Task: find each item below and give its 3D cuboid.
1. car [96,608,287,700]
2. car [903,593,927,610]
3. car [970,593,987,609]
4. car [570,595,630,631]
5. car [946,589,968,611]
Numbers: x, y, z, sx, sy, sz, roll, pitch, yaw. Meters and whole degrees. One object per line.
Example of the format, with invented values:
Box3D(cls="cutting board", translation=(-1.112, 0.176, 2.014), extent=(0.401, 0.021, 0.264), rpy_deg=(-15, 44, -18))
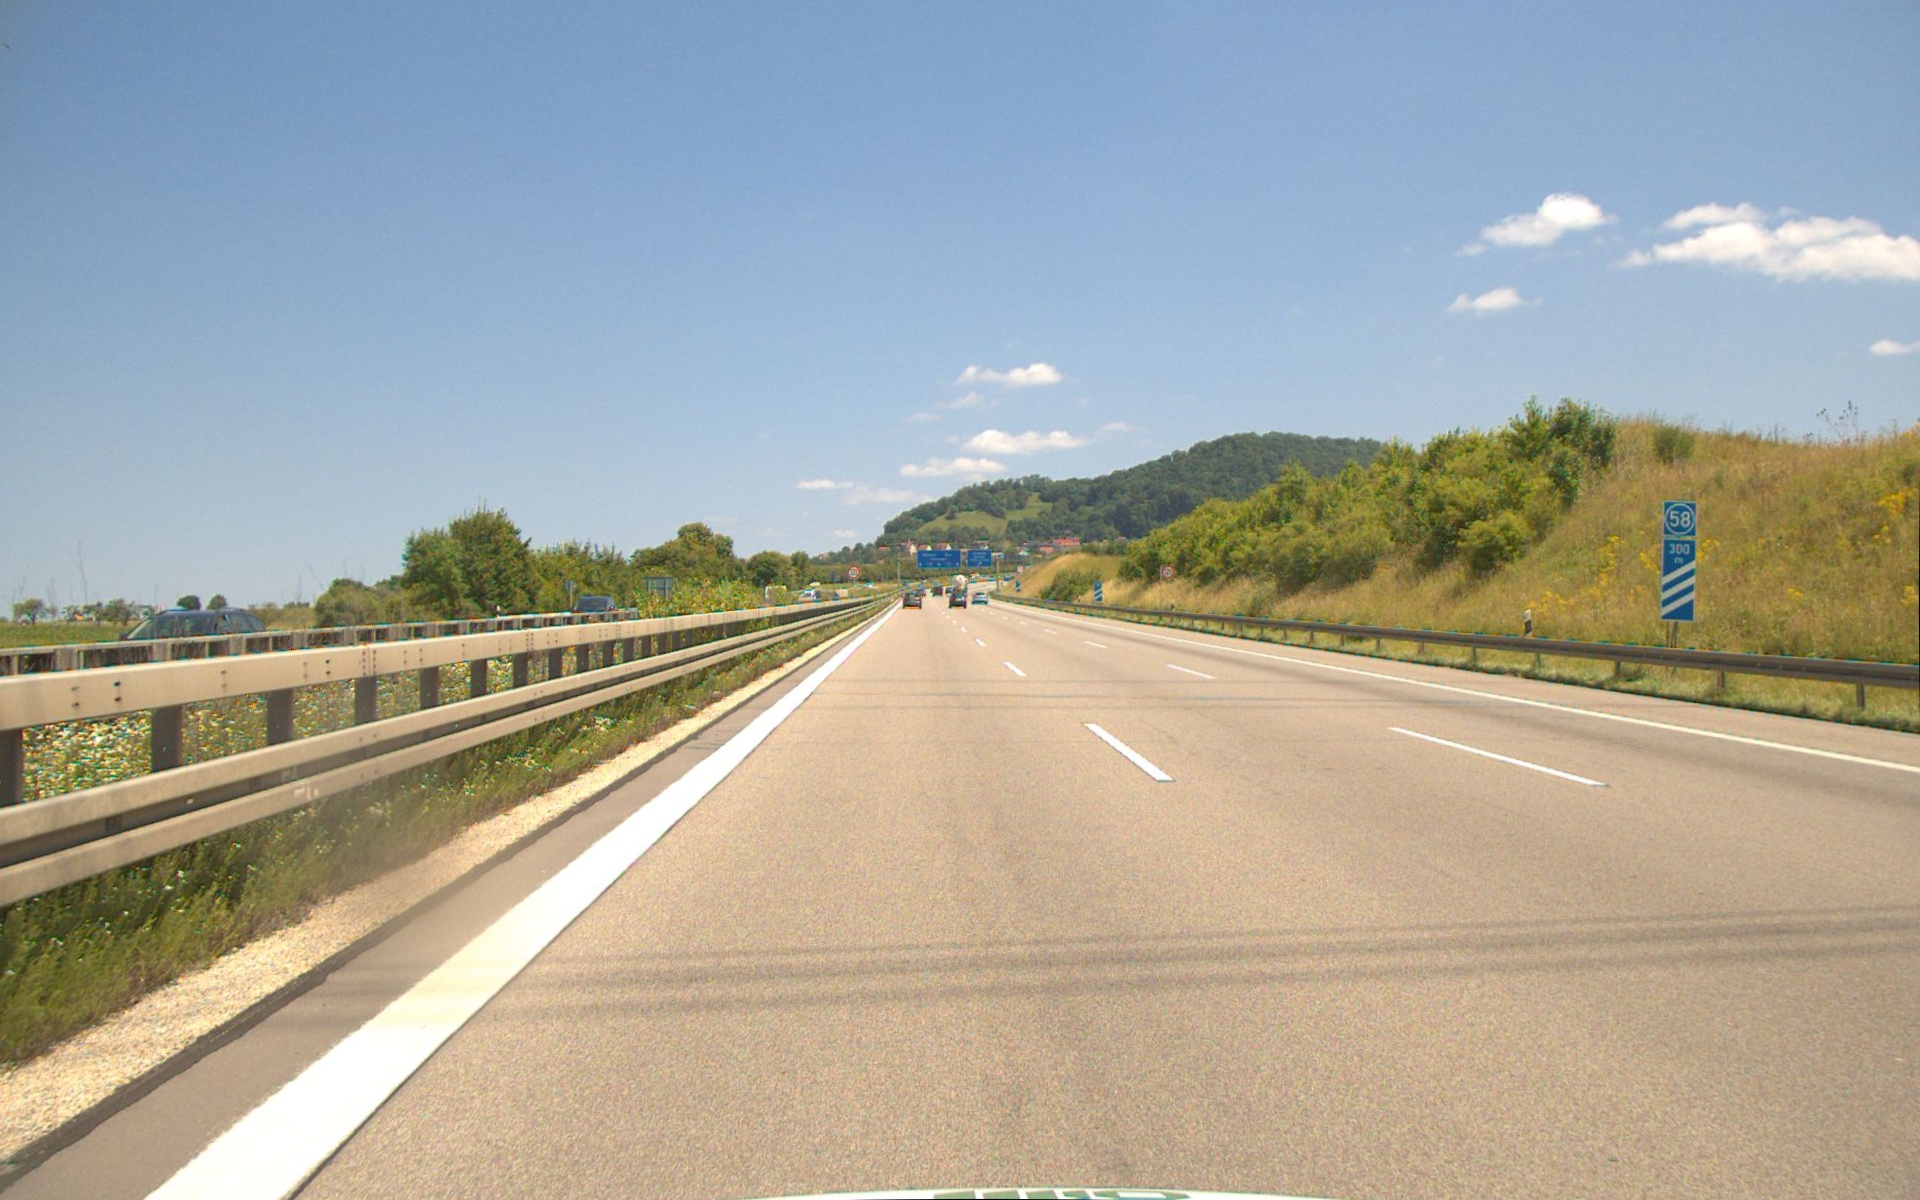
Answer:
Box3D(cls="car", translation=(-13.889, 0.928, 30.135), extent=(1.689, 1.458, 3.998), rpy_deg=(-2, 0, -2))
Box3D(cls="car", translation=(-3.893, 0.168, 144.021), extent=(1.953, 1.413, 3.999), rpy_deg=(1, 0, -1))
Box3D(cls="car", translation=(2.225, 0.081, 200.320), extent=(1.953, 1.850, 3.999), rpy_deg=(-1, 0, -1))
Box3D(cls="car", translation=(-16.545, 0.583, 76.142), extent=(1.908, 1.570, 4.284), rpy_deg=(1, 0, -1))
Box3D(cls="car", translation=(-0.281, 0.012, 152.996), extent=(1.953, 2.049, 3.999), rpy_deg=(1, 0, -1))
